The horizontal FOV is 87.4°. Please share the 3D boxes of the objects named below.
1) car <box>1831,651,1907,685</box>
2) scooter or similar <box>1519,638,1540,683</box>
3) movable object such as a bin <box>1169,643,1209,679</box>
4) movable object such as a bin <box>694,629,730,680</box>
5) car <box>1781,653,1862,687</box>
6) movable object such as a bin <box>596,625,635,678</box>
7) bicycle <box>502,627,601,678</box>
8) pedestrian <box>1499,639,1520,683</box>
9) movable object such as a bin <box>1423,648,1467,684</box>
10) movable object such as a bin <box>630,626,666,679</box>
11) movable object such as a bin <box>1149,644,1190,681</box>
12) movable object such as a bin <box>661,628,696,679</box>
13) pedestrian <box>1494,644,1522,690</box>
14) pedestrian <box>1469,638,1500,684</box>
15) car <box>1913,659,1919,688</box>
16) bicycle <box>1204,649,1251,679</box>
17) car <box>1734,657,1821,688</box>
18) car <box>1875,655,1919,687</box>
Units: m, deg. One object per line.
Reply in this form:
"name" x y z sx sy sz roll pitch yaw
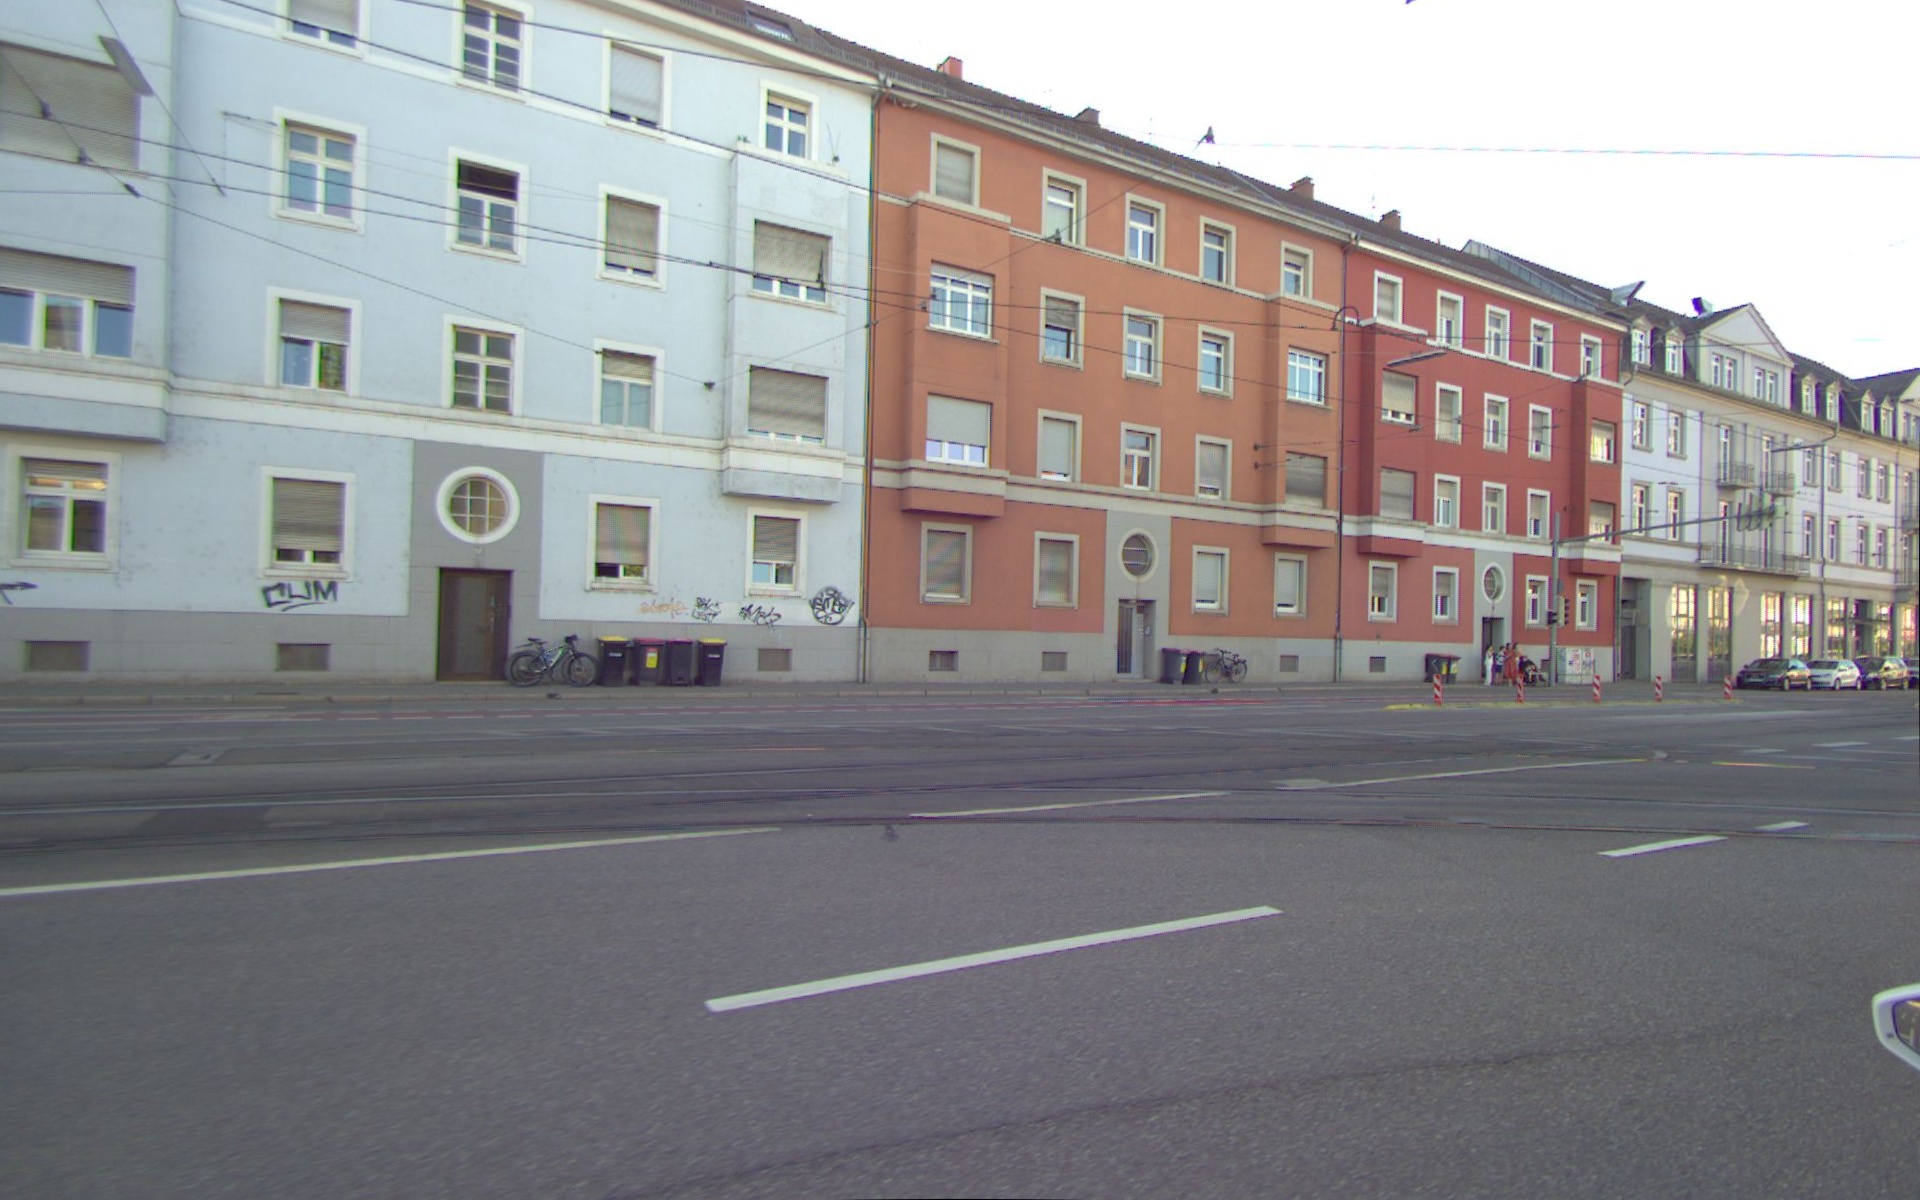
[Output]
"car" 44.722 3.360 49.418 3.811 1.572 1.711 3 -2 -30
"scooter or similar" 21.738 2.301 38.349 0.643 1.654 0.794 1 -1 28
"movable object such as a bin" 6.890 1.833 30.225 0.803 1.054 0.838 3 -2 -34
"movable object such as a bin" -5.673 1.249 22.967 0.576 1.121 0.699 3 -1 -30
"car" 40.405 3.291 47.112 3.953 1.471 1.711 3 -2 -30
"movable object such as a bin" -7.513 1.127 21.901 0.641 1.121 0.699 3 -1 -30
"bicycle" -8.662 1.119 21.307 1.855 0.993 0.602 3 -1 -30
"pedestrian" 21.115 2.325 38.600 0.643 1.654 0.794 1 -1 28
"movable object such as a bin" 17.738 2.412 36.713 1.216 1.266 0.868 2 -2 -24
"movable object such as a bin" -6.908 1.158 22.220 0.576 1.121 0.699 3 -1 -30
"movable object such as a bin" 6.200 1.837 29.748 0.803 1.054 0.838 3 -2 -34
"movable object such as a bin" -6.337 1.204 22.595 0.576 1.121 0.699 3 -1 -30
"pedestrian" 20.511 2.486 37.637 0.815 1.654 0.795 1 -1 23
"pedestrian" 19.646 2.273 37.601 0.644 1.654 0.793 2 -1 -15
"car" 54.691 4.130 55.672 3.953 1.572 1.711 3 -2 -30
"bicycle" 8.363 2.013 31.416 1.583 0.902 0.333 3 -2 -26
"car" 35.825 3.158 43.997 3.953 1.248 1.711 3 -2 -30
"car" 50.356 3.740 53.040 4.224 1.572 1.827 3 -2 -30
